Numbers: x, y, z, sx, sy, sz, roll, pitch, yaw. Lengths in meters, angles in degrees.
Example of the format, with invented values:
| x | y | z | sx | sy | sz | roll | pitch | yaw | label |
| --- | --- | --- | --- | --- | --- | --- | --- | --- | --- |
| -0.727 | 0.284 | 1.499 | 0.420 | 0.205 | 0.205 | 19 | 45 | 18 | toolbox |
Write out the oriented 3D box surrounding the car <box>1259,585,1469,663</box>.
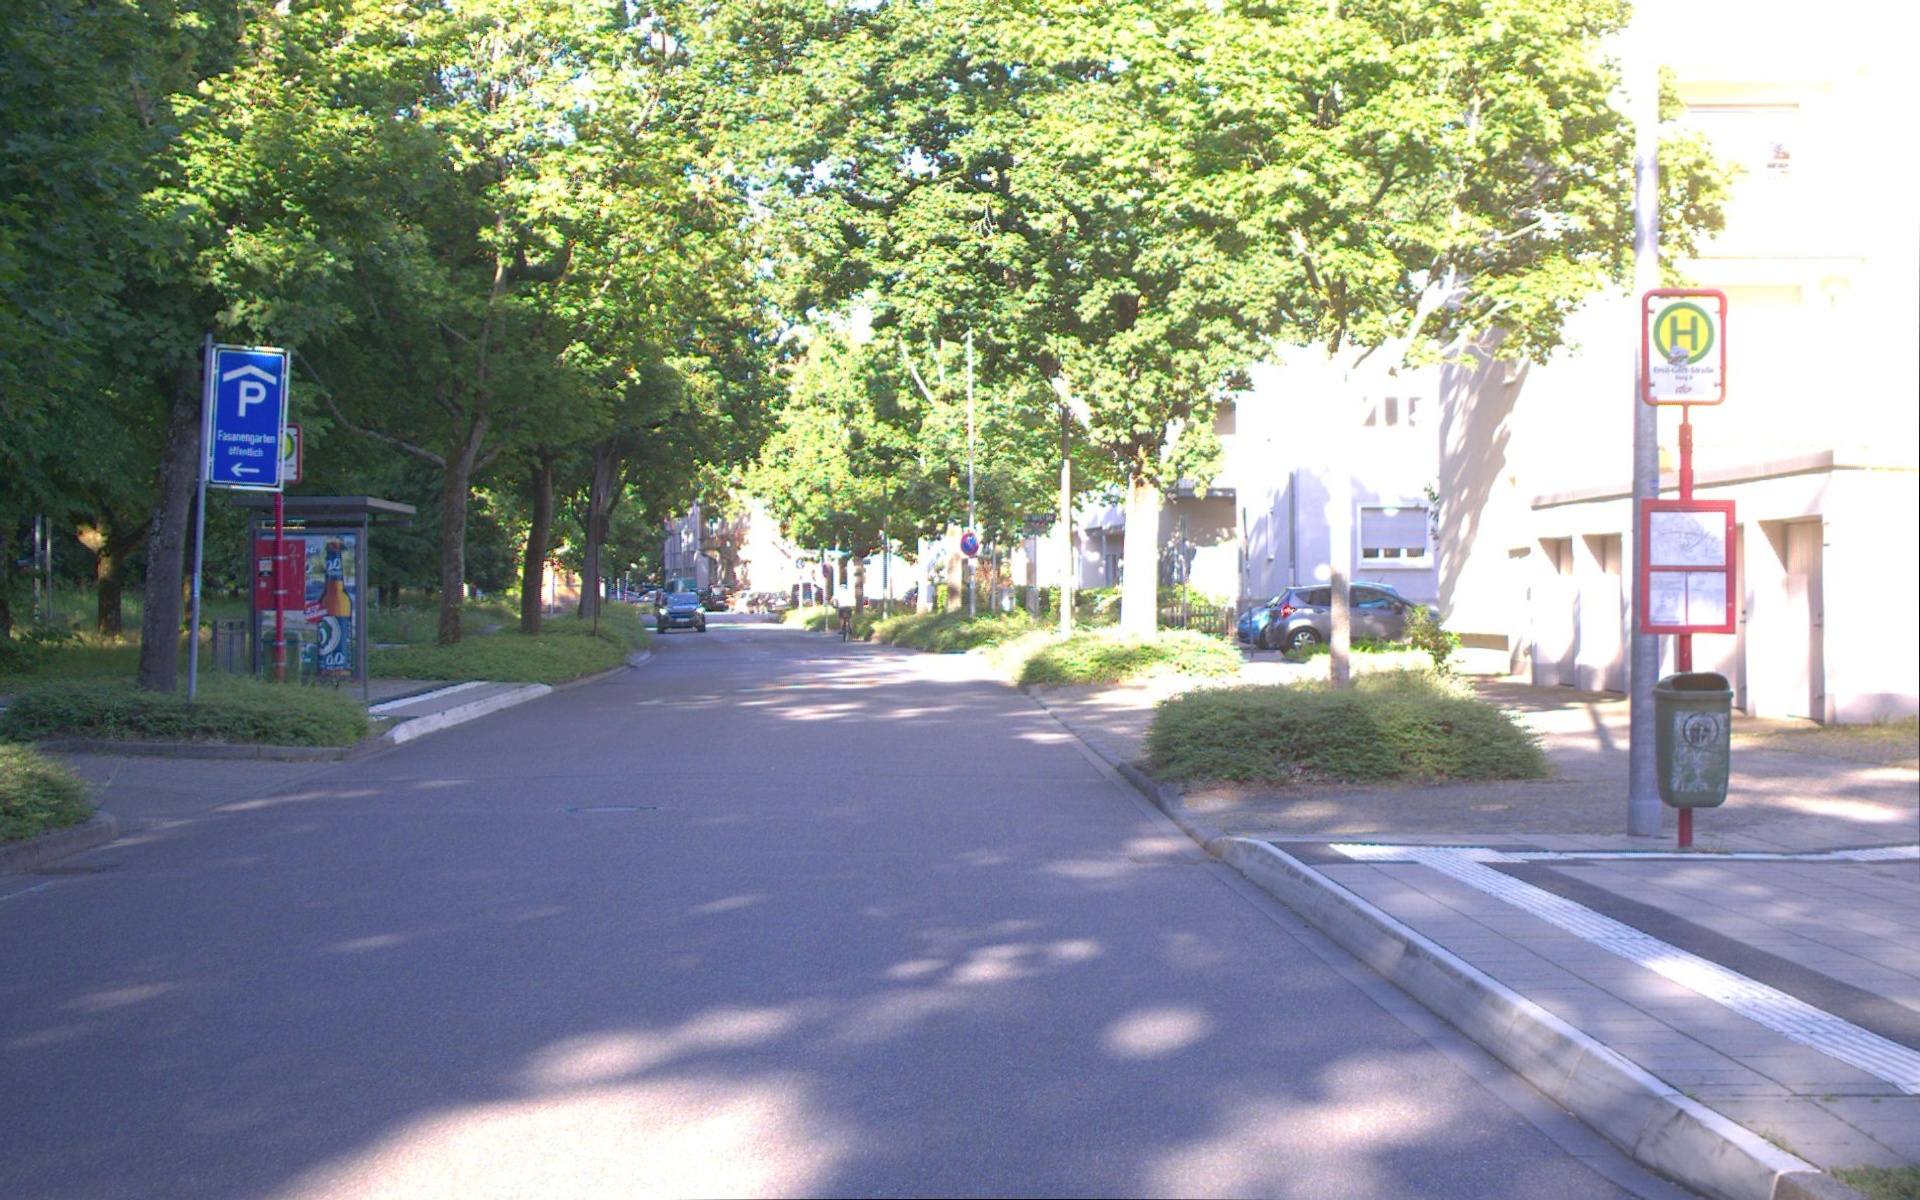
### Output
| x | y | z | sx | sy | sz | roll | pitch | yaw | label |
| --- | --- | --- | --- | --- | --- | --- | --- | --- | --- |
| 8.342 | 0.514 | 71.127 | 4.040 | 1.509 | 1.727 | 1 | -2 | -4 | car |

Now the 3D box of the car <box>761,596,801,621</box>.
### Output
| x | y | z | sx | sy | sz | roll | pitch | yaw | label |
| --- | --- | --- | --- | --- | --- | --- | --- | --- | --- |
| -11.040 | 0.523 | 211.943 | 1.811 | 1.496 | 4.001 | 0 | 0 | -13 | car |

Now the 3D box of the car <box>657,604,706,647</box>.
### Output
| x | y | z | sx | sy | sz | roll | pitch | yaw | label |
| --- | --- | --- | --- | --- | --- | --- | --- | --- | --- |
| -10.833 | 0.967 | 133.677 | 1.844 | 1.573 | 4.336 | -1 | 0 | -4 | car |

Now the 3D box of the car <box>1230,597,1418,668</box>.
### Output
| x | y | z | sx | sy | sz | roll | pitch | yaw | label |
| --- | --- | --- | --- | --- | --- | --- | --- | --- | --- |
| 8.339 | 0.735 | 78.908 | 3.986 | 1.576 | 1.810 | 0 | 1 | -6 | car |

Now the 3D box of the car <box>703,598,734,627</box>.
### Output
| x | y | z | sx | sy | sz | roll | pitch | yaw | label |
| --- | --- | --- | --- | --- | --- | --- | --- | --- | --- |
| -16.880 | 0.871 | 240.204 | 1.811 | 1.919 | 4.001 | 2 | 0 | -9 | car |
